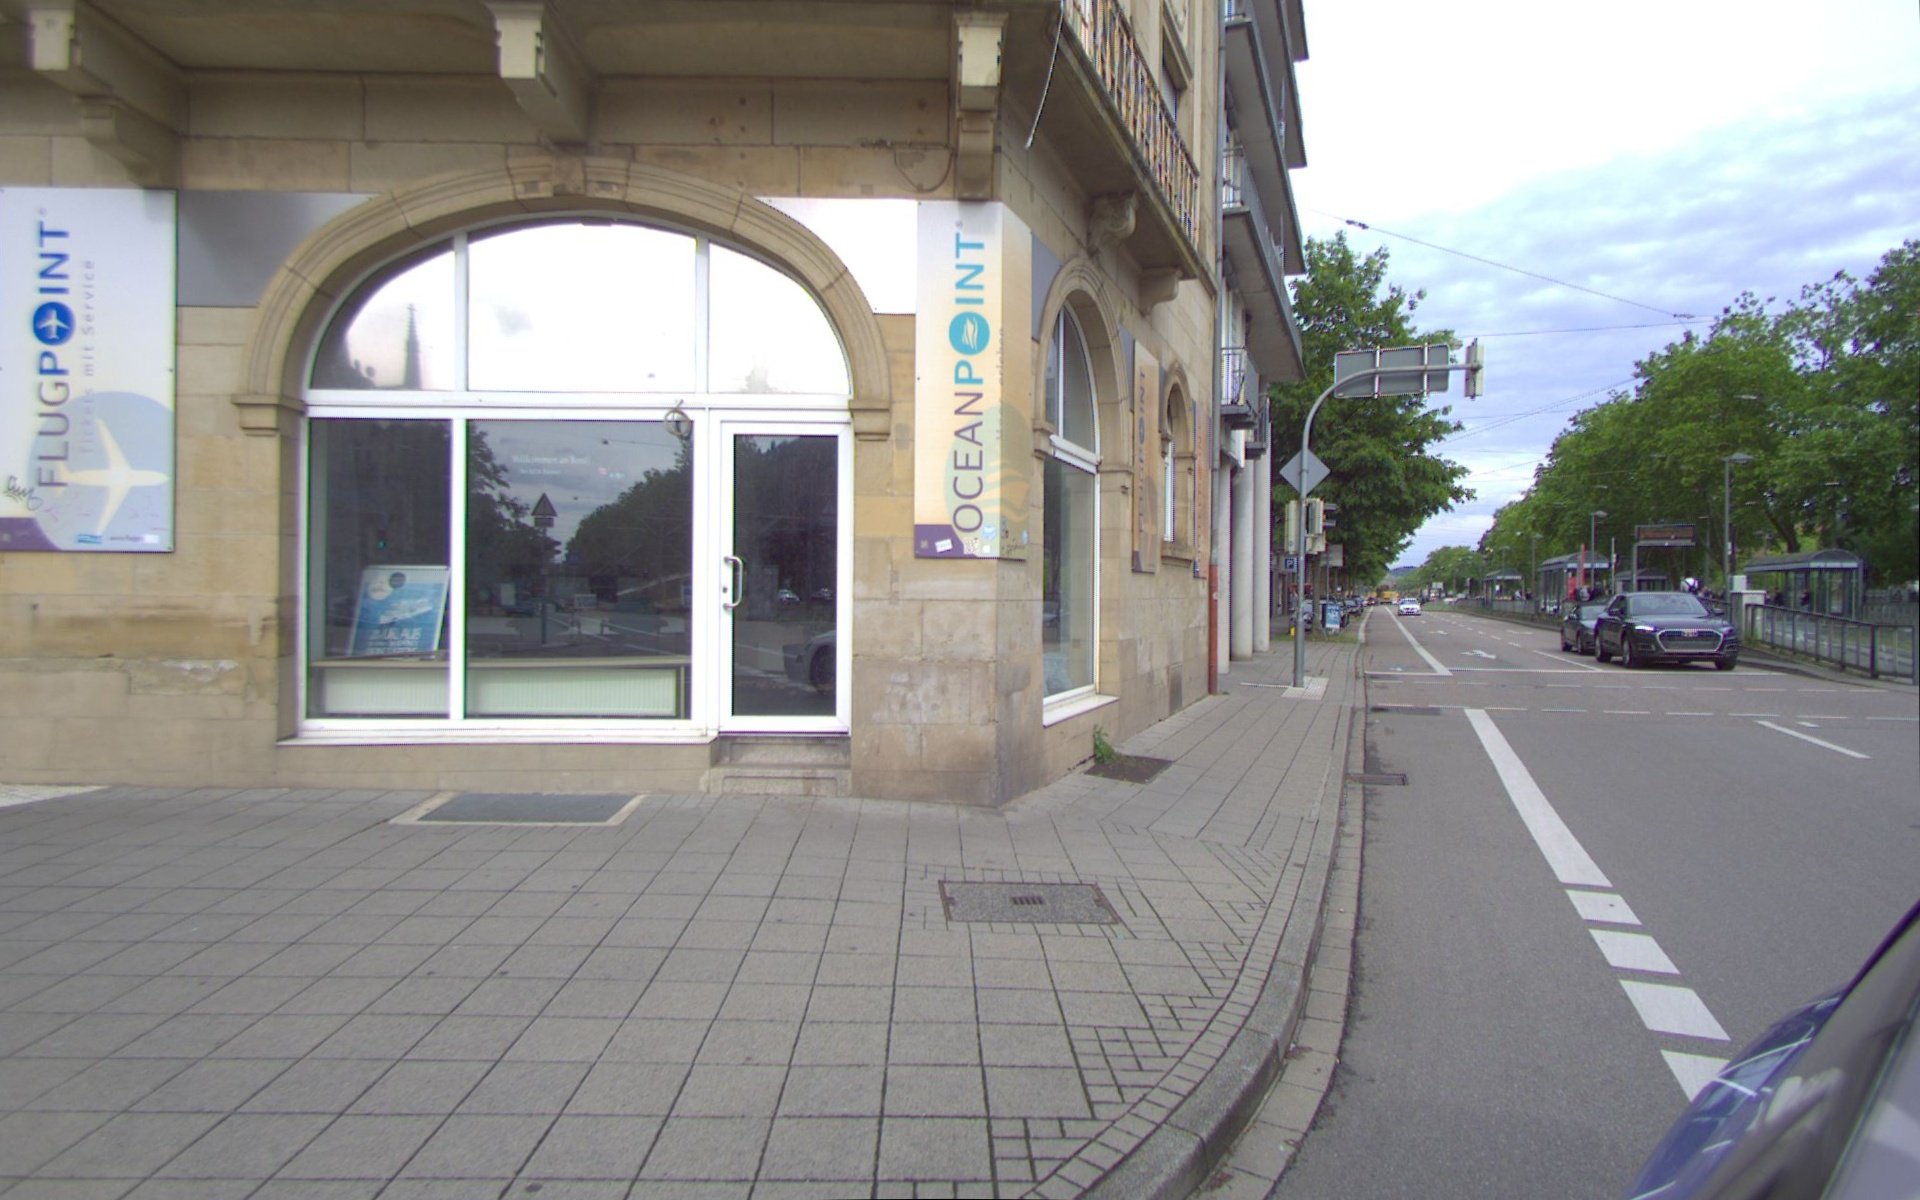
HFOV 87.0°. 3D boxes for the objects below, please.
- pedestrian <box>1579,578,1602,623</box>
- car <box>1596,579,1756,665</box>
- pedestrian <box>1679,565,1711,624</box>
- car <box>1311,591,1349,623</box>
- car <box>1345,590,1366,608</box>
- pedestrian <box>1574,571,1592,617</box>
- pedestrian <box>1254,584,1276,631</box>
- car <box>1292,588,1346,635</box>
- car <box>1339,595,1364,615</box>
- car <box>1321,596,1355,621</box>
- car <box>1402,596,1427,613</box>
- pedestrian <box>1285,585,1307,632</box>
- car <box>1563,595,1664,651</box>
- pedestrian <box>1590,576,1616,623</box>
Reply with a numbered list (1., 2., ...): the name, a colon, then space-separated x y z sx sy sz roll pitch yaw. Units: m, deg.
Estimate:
1. pedestrian: 26.195 0.021 42.059 0.677 1.814 0.814 -1 -1 27
2. car: 15.348 0.425 21.969 1.896 1.668 4.334 -1 0 23
3. pedestrian: 22.294 -0.160 30.713 0.656 1.773 0.530 -1 -1 24
4. car: 19.639 0.338 53.616 1.667 1.564 3.912 2 1 23
5. car: 39.228 -0.078 100.346 1.713 1.706 3.786 2 1 23
6. pedestrian: 28.435 -0.253 46.209 0.580 2.076 0.814 -1 -1 27
7. pedestrian: 11.935 0.297 39.578 0.737 1.828 0.833 -1 -1 22
8. car: 14.180 0.414 39.904 1.713 1.682 4.071 3 1 23
9. car: 30.731 0.372 79.433 1.713 1.400 3.786 2 1 23
10. car: 22.543 0.498 60.357 1.713 1.400 3.786 2 1 23
11. car: 39.250 0.403 87.389 1.845 1.364 3.786 2 1 23
12. pedestrian: 14.149 0.360 42.633 0.650 1.958 0.634 -2 -1 38
13. car: 17.767 0.585 27.697 1.620 1.392 3.982 -1 0 23
14. pedestrian: 25.111 -0.038 39.517 0.523 1.814 0.664 -1 -1 -27
